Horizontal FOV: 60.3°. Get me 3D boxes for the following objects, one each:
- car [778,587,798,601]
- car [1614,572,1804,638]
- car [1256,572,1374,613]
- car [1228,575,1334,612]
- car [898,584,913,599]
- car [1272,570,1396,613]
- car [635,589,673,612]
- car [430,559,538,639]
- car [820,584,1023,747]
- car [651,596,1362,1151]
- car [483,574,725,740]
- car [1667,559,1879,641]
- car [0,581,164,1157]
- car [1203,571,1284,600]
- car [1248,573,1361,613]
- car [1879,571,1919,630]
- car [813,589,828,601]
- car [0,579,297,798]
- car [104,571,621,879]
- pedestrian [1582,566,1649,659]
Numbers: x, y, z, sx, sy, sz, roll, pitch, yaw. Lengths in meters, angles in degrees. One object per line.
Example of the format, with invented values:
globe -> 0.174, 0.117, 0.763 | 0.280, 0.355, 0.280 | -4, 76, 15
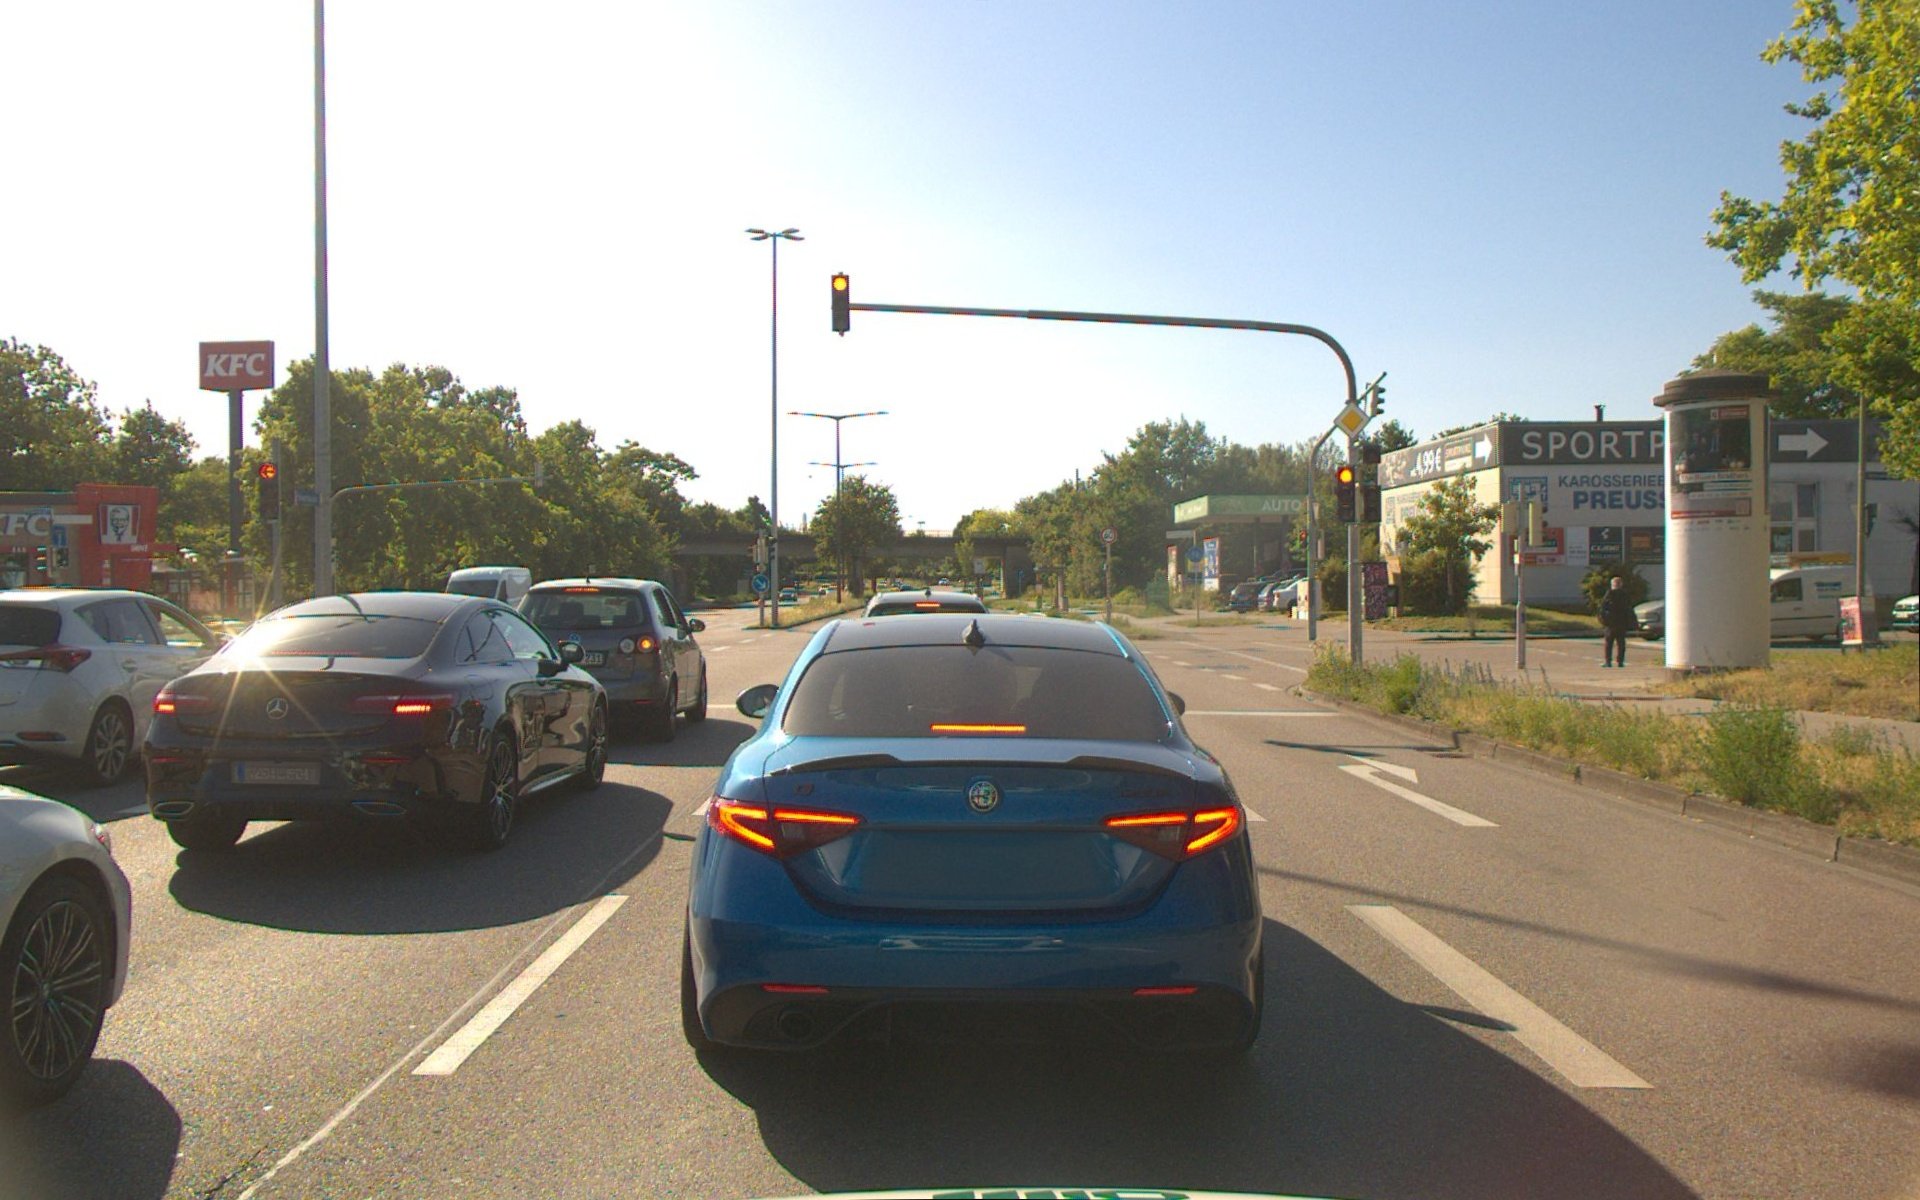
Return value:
car -> -18.816, -0.644, 181.411 | 1.723, 1.516, 4.477 | -2, 0, -1
car -> 19.593, 0.111, 43.345 | 4.201, 1.576, 1.764 | -1, 2, -2
car -> 14.483, -0.320, 67.541 | 4.397, 1.479, 1.858 | -2, 0, 1
car -> 14.398, -0.289, 74.343 | 4.397, 1.479, 1.858 | -2, 0, 1
car -> -7.121, -1.114, 216.811 | 1.853, 1.847, 3.999 | 1, 0, -1
car -> 14.606, -0.321, 64.764 | 4.397, 1.479, 1.858 | -2, 0, 1
car -> -20.806, 0.036, 112.582 | 1.723, 1.516, 4.477 | -2, 0, -1
car -> -16.258, -0.038, 56.832 | 1.981, 2.489, 5.820 | -3, 0, -1
car -> -0.417, 0.605, 17.191 | 1.813, 1.443, 4.401 | 1, 0, -2
car -> 0.064, 0.735, 6.563 | 1.857, 1.443, 4.401 | 1, 0, -2
car -> -3.627, 0.543, 17.619 | 1.723, 1.516, 4.401 | 1, 0, -2
car -> 19.622, -0.025, 40.009 | 4.293, 1.833, 1.764 | -1, 2, -2
car -> -3.348, 0.688, 3.017 | 1.749, 1.516, 4.401 | 1, 0, -2
car -> 16.722, -0.848, 97.551 | 4.457, 1.516, 1.765 | -2, 0, 1
car -> 14.627, -0.297, 70.296 | 4.397, 1.479, 1.858 | -2, 0, 1
car -> 26.745, -0.057, 43.688 | 3.960, 1.516, 1.782 | -2, 0, -3
car -> -19.446, -0.668, 231.028 | 1.723, 1.516, 4.477 | -2, 0, -1
car -> -7.094, 0.611, 13.545 | 1.723, 1.516, 4.195 | 1, 0, -2
car -> -3.442, 0.639, 10.521 | 1.760, 1.516, 4.474 | 1, 0, -2
pedestrian -> 12.693, 0.234, 32.063 | 0.906, 1.765, 0.938 | 1, -1, -1
